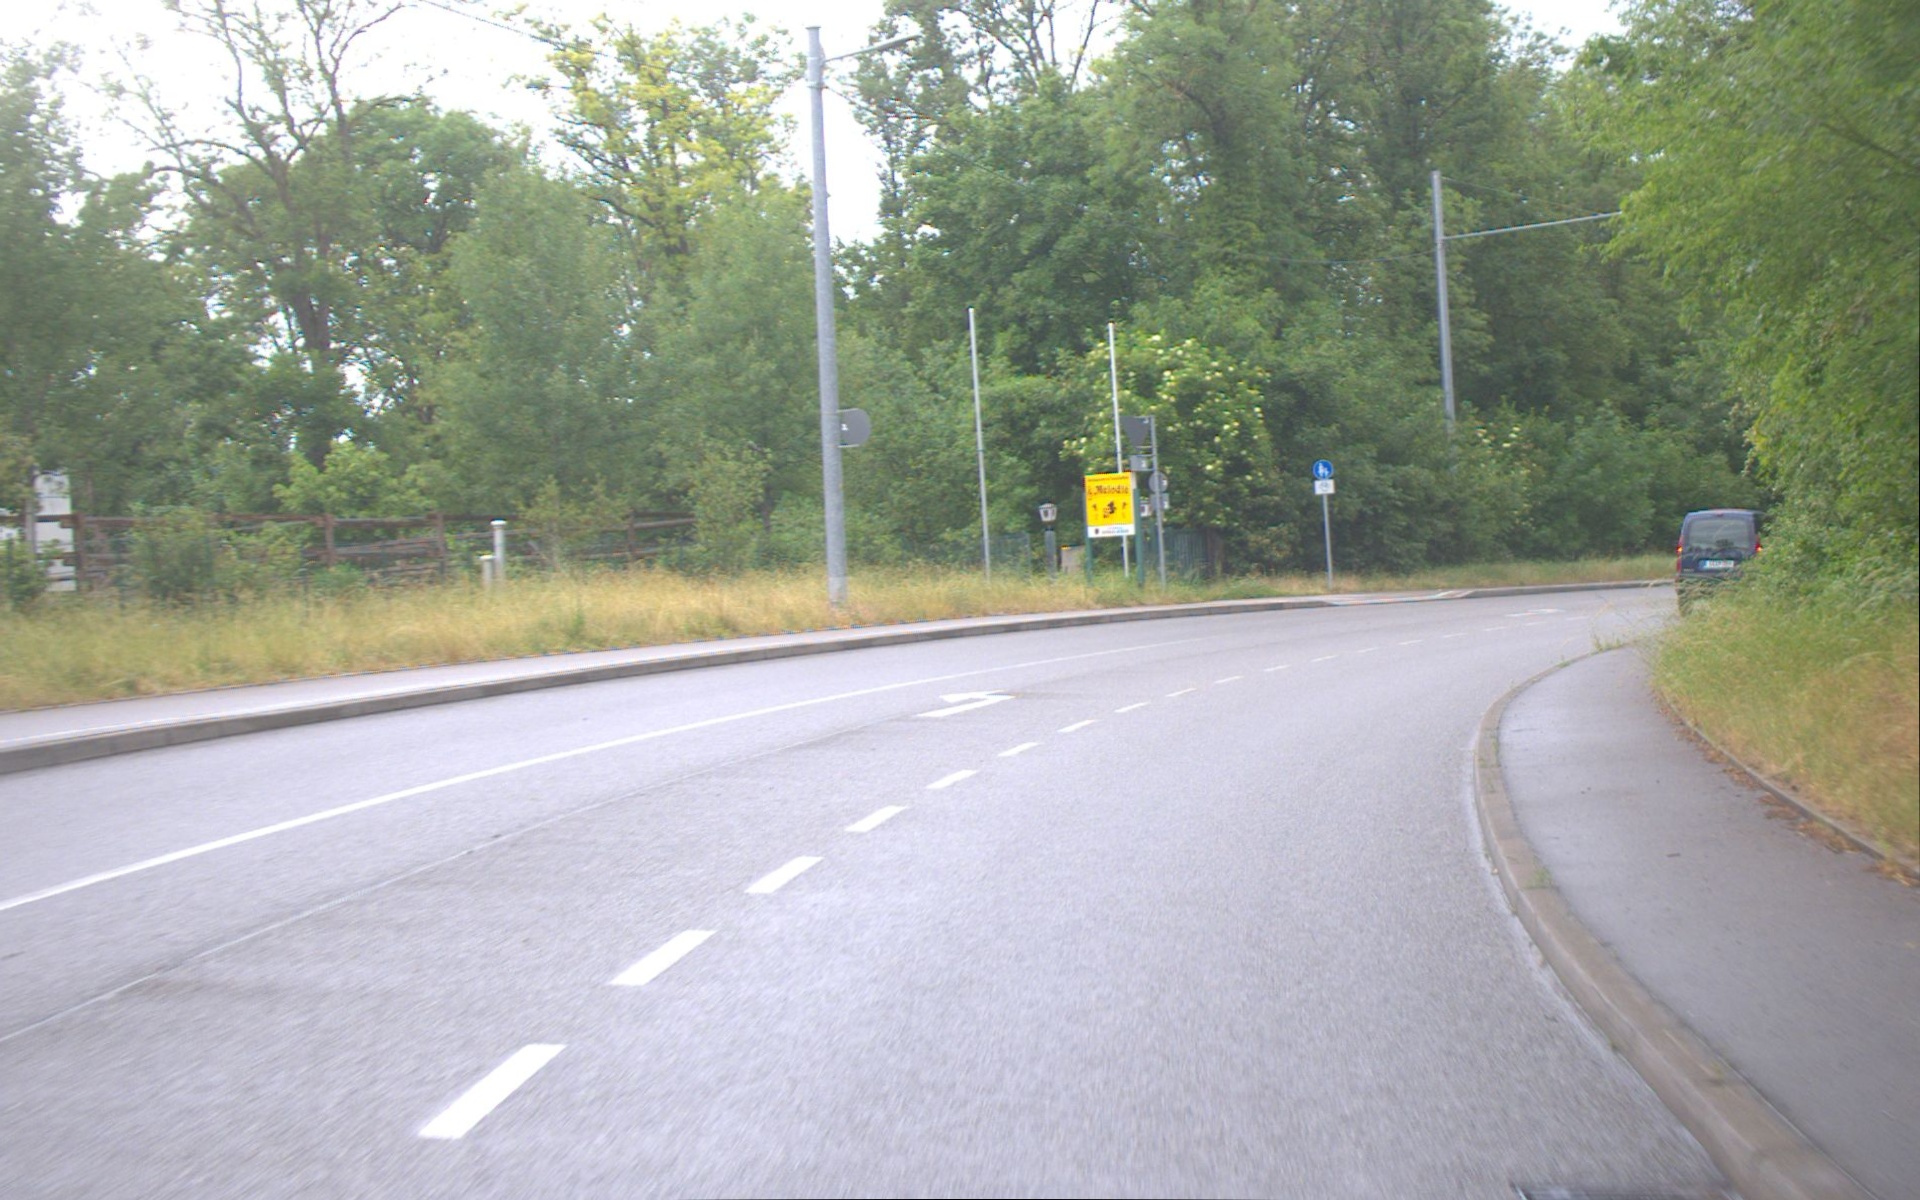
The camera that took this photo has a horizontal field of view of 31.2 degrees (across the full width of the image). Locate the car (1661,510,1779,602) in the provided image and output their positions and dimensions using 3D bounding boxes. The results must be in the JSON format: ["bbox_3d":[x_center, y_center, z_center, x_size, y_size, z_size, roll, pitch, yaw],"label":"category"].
[{"bbox_3d":[13.562,-0.806,61.240,1.669,1.588,3.679,0,1,19],"label":"car"}]
